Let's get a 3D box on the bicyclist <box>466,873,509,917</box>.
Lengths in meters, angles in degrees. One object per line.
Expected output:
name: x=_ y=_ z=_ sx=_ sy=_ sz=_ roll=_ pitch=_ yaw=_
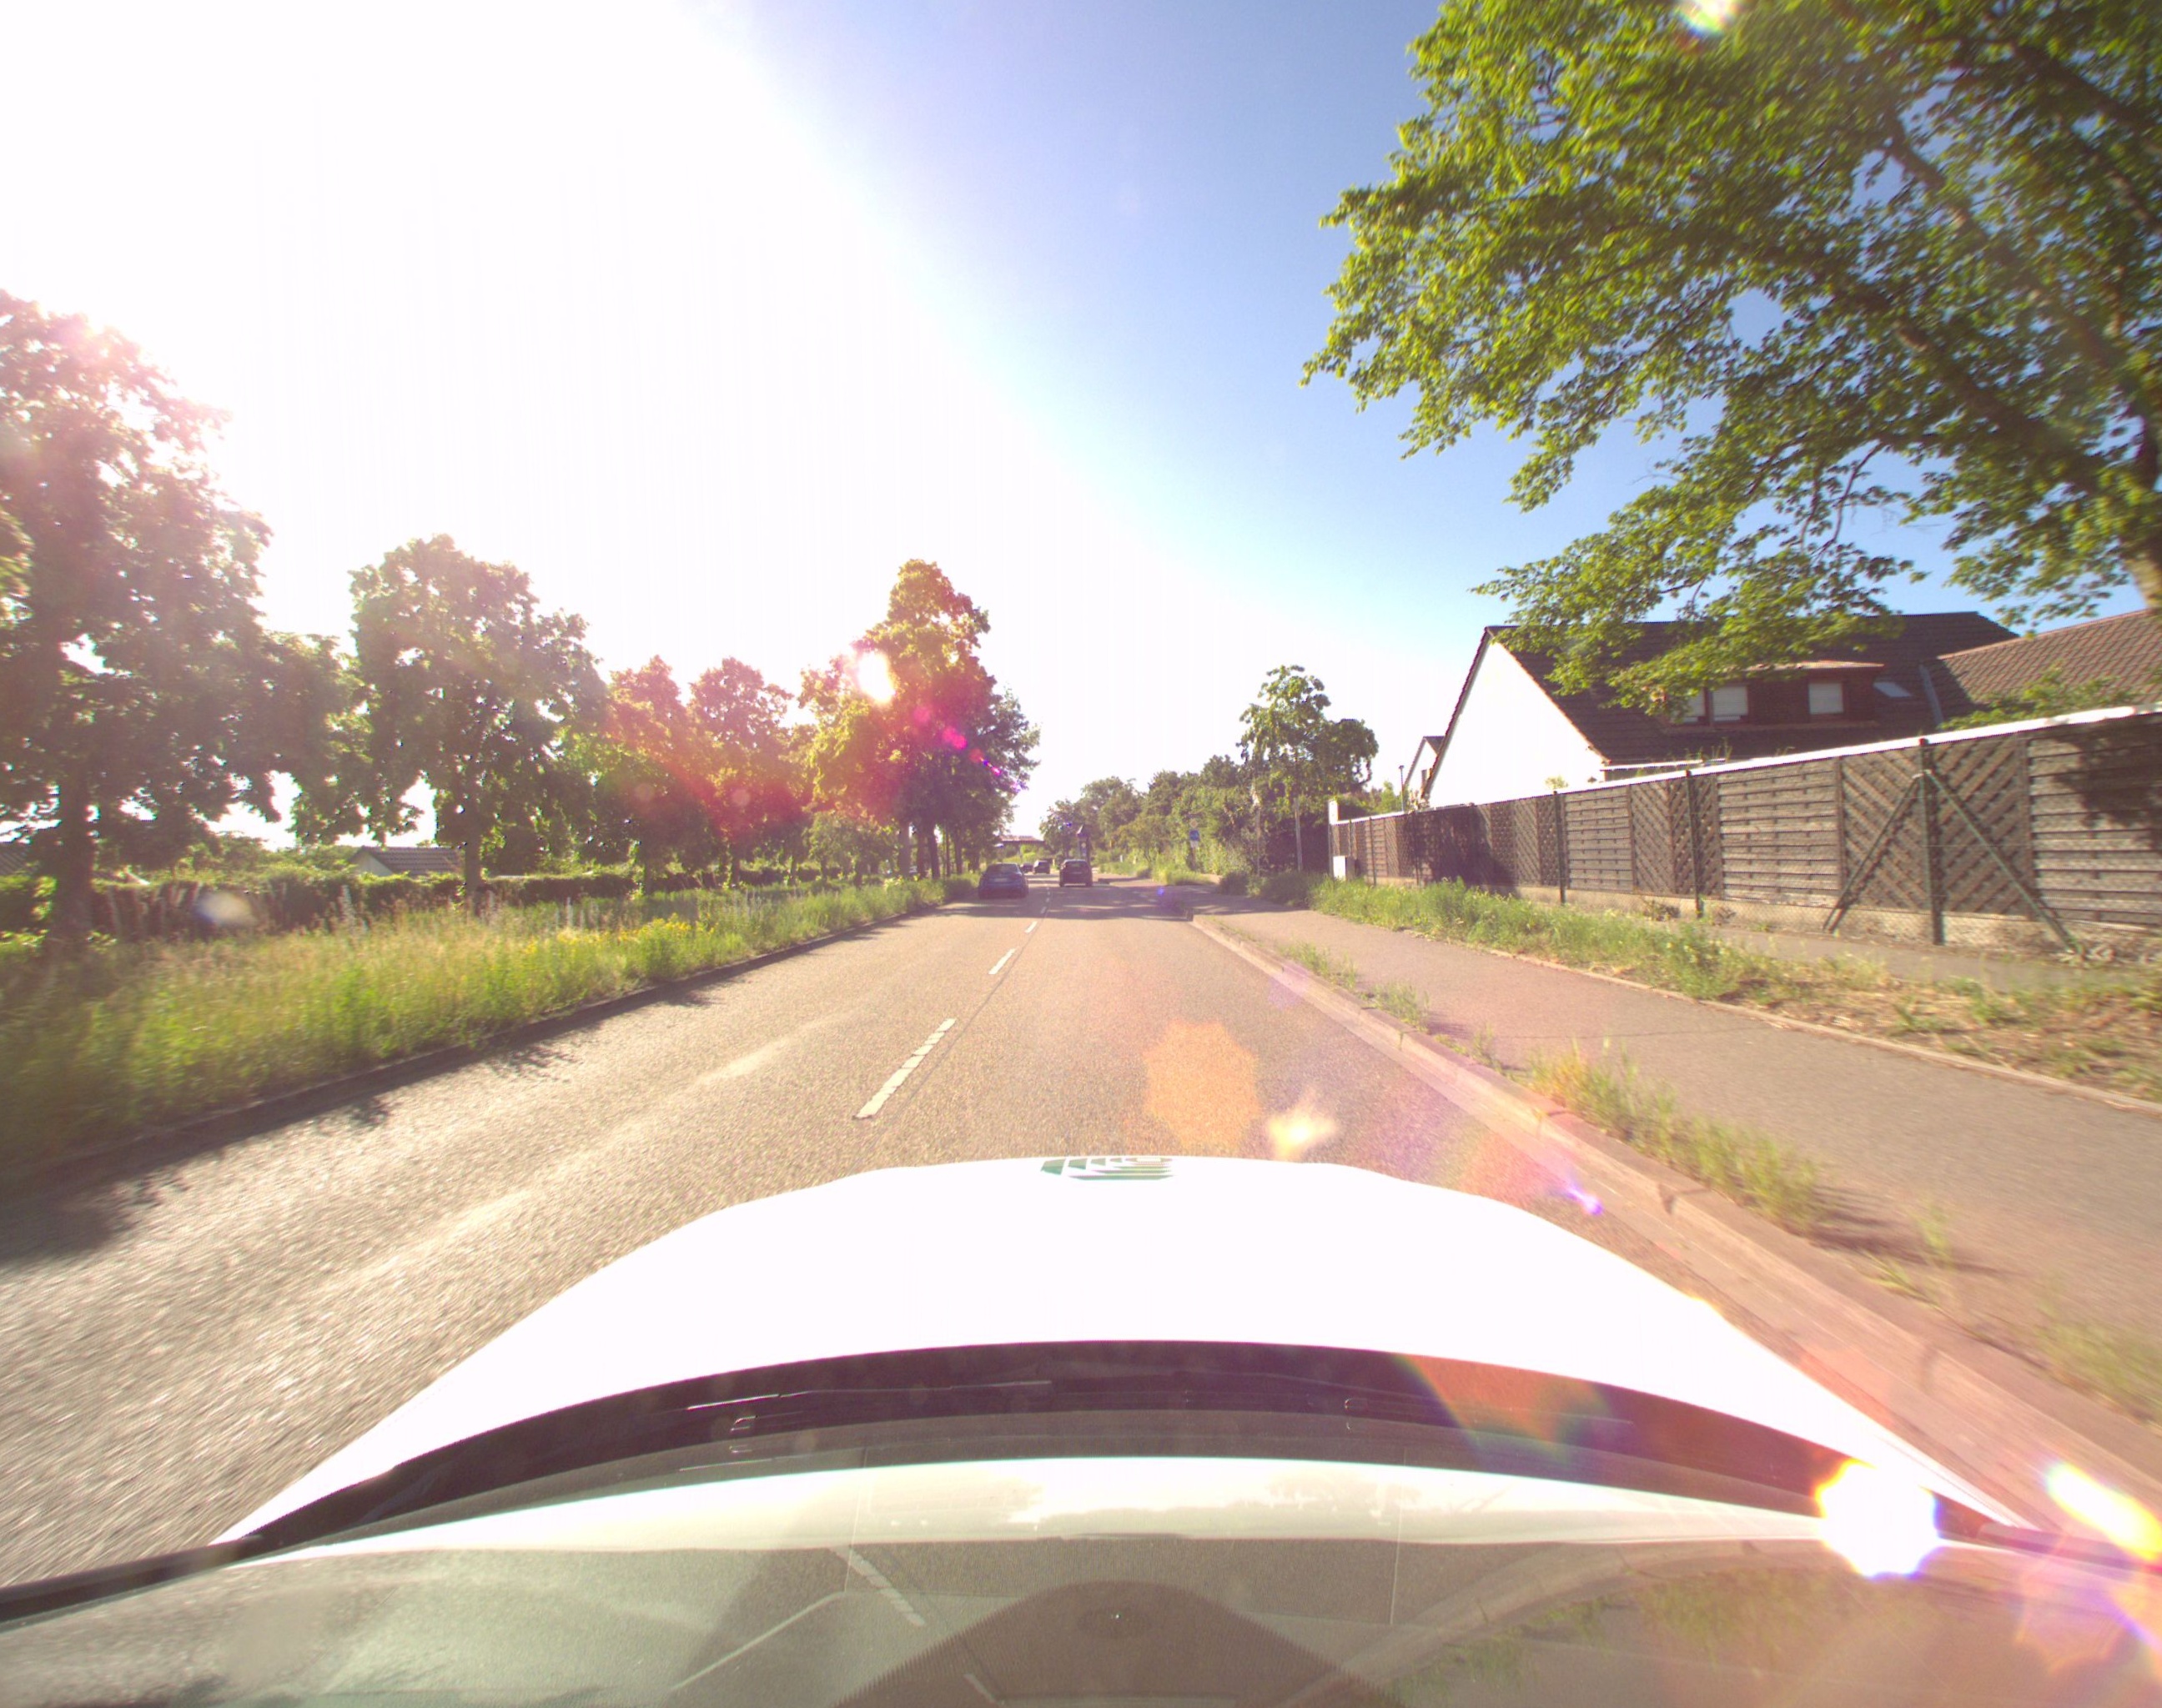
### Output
bicyclist: x=-20.154 y=1.389 z=27.658 sx=0.687 sy=1.421 sz=1.000 roll=-2 pitch=0 yaw=0

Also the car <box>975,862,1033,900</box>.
car: x=-3.120 y=1.072 z=33.810 sx=1.988 sy=1.405 sz=4.000 roll=-2 pitch=0 yaw=0

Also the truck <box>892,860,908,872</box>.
truck: x=-43.290 y=2.937 z=194.842 sx=2.185 sy=2.512 sz=5.688 roll=-4 pitch=0 yaw=-28

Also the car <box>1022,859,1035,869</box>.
car: x=-7.673 y=1.433 z=118.585 sx=1.895 sy=1.356 sz=3.993 roll=-2 pitch=0 yaw=-5

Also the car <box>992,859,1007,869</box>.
car: x=-11.666 y=1.449 z=116.836 sx=1.895 sy=1.356 sz=3.993 roll=-2 pitch=0 yaw=-5

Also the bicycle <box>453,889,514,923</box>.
bicycle: x=-20.144 y=1.739 z=27.501 sx=0.687 sy=0.996 sz=1.841 roll=-2 pitch=0 yaw=0

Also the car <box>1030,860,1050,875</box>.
car: x=-4.657 y=1.508 z=91.891 sx=1.744 sy=1.597 sz=4.161 roll=-2 pitch=0 yaw=-9

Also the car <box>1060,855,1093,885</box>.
car: x=-0.262 y=0.917 z=44.733 sx=1.755 sy=1.559 sz=3.998 roll=-1 pitch=-2 yaw=-1
